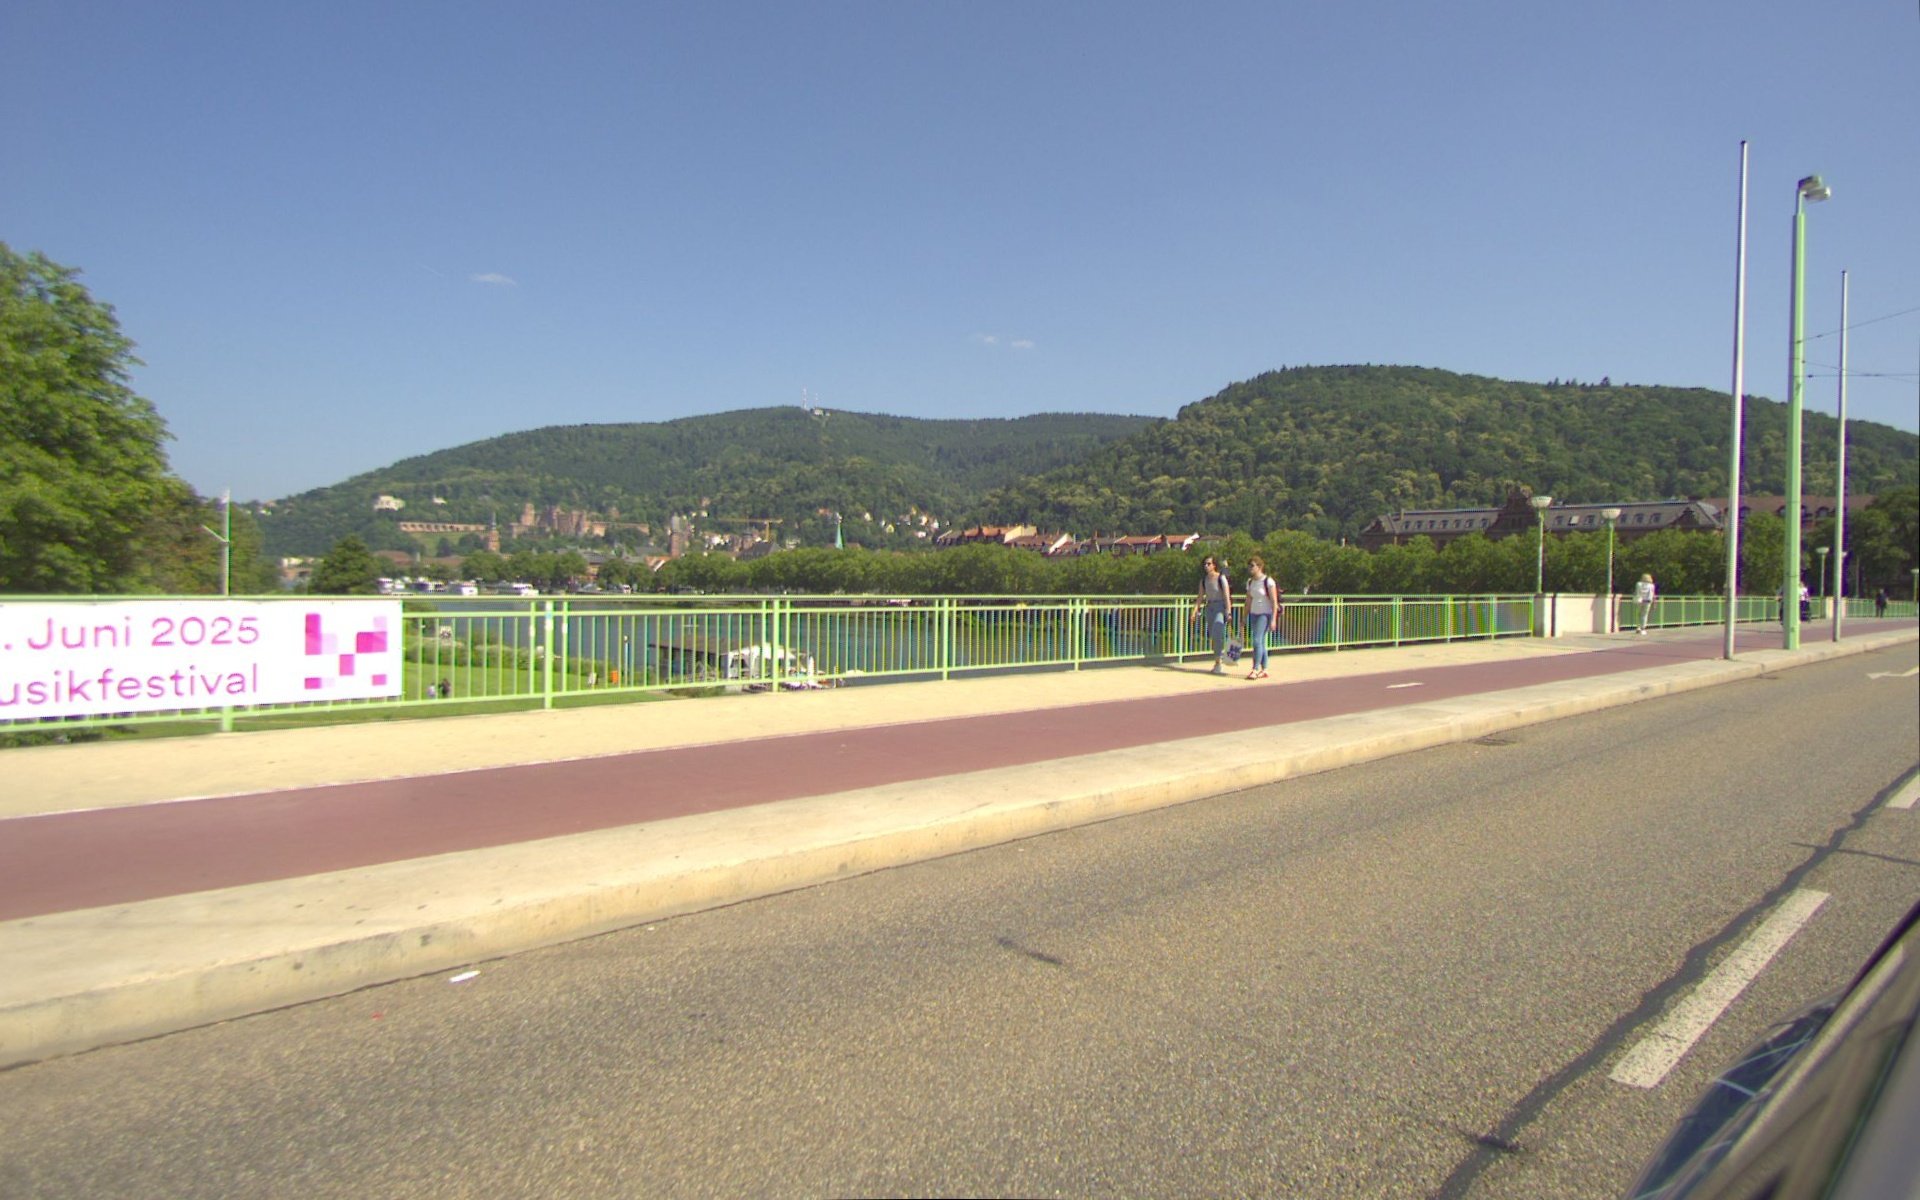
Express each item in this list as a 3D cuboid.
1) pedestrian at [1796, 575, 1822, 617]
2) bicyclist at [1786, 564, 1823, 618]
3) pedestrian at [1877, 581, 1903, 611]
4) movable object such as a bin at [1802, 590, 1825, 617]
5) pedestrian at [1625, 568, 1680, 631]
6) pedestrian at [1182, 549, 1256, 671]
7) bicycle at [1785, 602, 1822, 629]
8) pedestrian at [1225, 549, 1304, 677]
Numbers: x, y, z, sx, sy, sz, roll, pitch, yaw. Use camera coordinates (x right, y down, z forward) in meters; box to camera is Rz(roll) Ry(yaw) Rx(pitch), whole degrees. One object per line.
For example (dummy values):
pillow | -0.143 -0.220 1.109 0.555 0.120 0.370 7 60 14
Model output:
pedestrian | 34.989 -0.169 41.701 0.844 1.727 0.664 0 2 -41
bicyclist | 26.664 -0.285 31.962 0.829 1.685 0.731 0 2 -40
pedestrian | 55.282 -0.236 60.141 1.063 1.683 0.949 0 3 -41
movable object such as a bin | 35.623 0.149 42.233 0.917 1.104 0.583 0 2 -41
pedestrian | 19.353 -0.032 28.283 1.063 1.683 0.949 0 3 -41
pedestrian | 3.691 0.126 14.427 0.733 1.679 0.668 0 2 -41
bicycle | 26.730 0.485 32.056 1.834 0.775 0.595 0 3 -40
pedestrian | 4.162 0.154 13.836 0.810 1.679 0.664 0 2 -41
